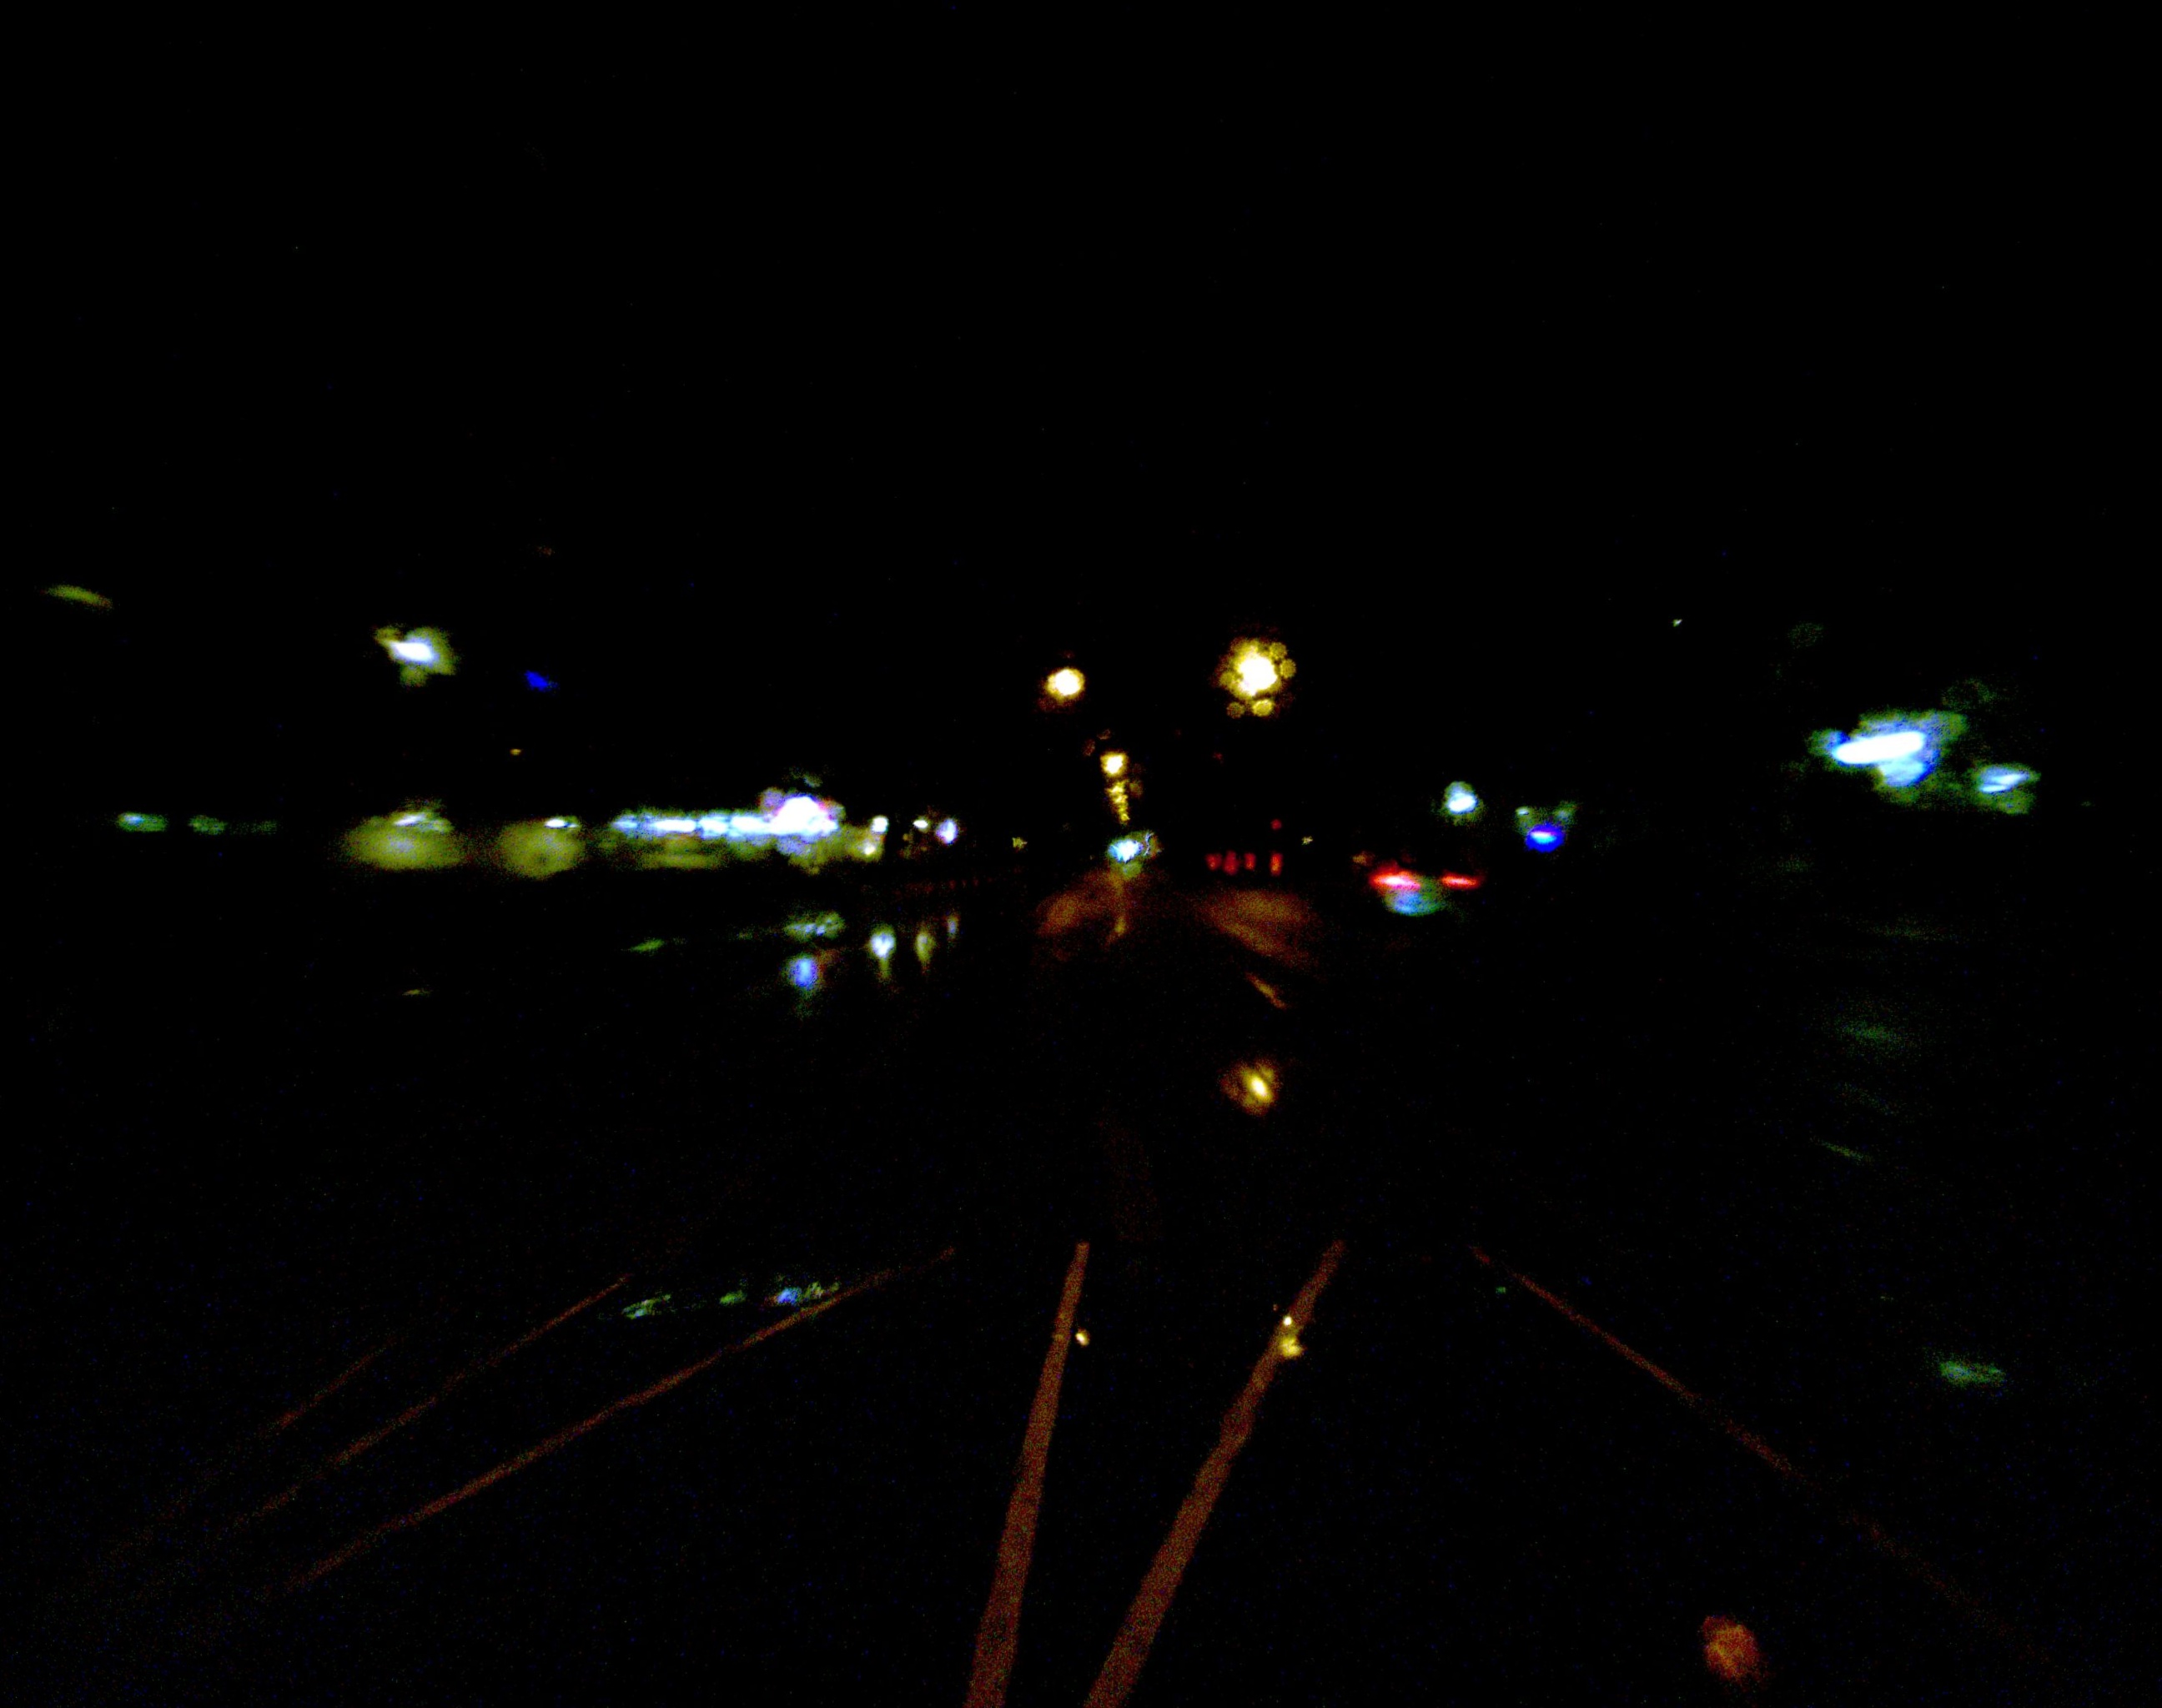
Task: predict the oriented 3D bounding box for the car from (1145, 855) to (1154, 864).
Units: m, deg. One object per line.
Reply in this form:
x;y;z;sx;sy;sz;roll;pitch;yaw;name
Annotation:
12.177;0.988;135.057;1.669;1.531;4.392;0;1;5;car

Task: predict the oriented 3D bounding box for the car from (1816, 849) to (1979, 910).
23.215;0.662;21.819;1.715;1.511;3.924;-1;1;23;car

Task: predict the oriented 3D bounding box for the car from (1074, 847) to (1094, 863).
0.317;0.067;78.047;1.826;1.522;4.783;0;1;3;car

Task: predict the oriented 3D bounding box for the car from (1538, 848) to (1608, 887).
22.226;0.568;34.498;1.866;1.604;4.500;-1;1;22;car

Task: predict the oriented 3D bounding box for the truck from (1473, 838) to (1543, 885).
19.865;0.319;35.588;2.125;2.002;5.270;-1;0;22;truck

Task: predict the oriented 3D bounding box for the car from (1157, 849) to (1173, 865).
9.518;0.320;85.891;1.601;1.596;4.259;2;1;4;car

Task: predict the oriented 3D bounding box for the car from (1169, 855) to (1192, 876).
8.412;0.950;64.528;1.601;1.555;4.380;2;1;4;car

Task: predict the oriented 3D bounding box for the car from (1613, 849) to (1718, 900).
18.483;0.606;24.217;1.715;1.423;3.924;-1;1;23;car

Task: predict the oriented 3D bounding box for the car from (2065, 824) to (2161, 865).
39.628;-0.379;28.155;1.866;1.434;4.500;-1;1;22;car

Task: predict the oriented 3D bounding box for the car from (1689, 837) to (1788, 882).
27.917;0.180;32.436;1.866;1.784;4.500;-1;1;22;car

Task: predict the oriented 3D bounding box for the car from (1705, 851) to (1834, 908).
20.786;0.717;23.141;1.715;1.511;3.924;-1;1;23;car

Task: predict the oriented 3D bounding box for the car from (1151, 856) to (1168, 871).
8.310;0.979;80.516;1.601;1.478;4.275;2;1;4;car

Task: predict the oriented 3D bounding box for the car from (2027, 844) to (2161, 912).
26.488;0.532;19.100;1.715;1.511;3.924;-1;1;23;car

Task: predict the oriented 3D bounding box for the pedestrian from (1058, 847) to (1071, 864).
-1.608;0.163;74.025;1.052;1.566;1.019;-2;1;9;pedestrian

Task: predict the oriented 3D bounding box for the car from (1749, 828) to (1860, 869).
30.329;-0.248;32.043;1.866;1.604;4.500;-1;1;22;car

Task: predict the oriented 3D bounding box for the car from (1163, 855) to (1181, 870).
8.964;0.811;75.202;1.601;1.365;4.068;-1;0;4;car

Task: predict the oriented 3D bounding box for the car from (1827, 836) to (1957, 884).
32.410;0.189;30.567;1.866;1.750;4.500;-1;1;22;car

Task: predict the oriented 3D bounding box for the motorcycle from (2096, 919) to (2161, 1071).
8.611;1.105;5.124;0.702;1.132;2.176;-1;0;4;motorcycle

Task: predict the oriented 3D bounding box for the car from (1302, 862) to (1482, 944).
6.652;0.962;16.907;1.857;1.491;4.768;-1;0;-3;car

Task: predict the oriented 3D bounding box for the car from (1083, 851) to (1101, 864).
1.255;0.381;84.253;1.826;1.414;4.488;0;1;3;car

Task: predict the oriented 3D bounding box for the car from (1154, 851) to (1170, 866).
10.659;0.608;100.138;1.477;1.610;3.374;15;1;2;car
